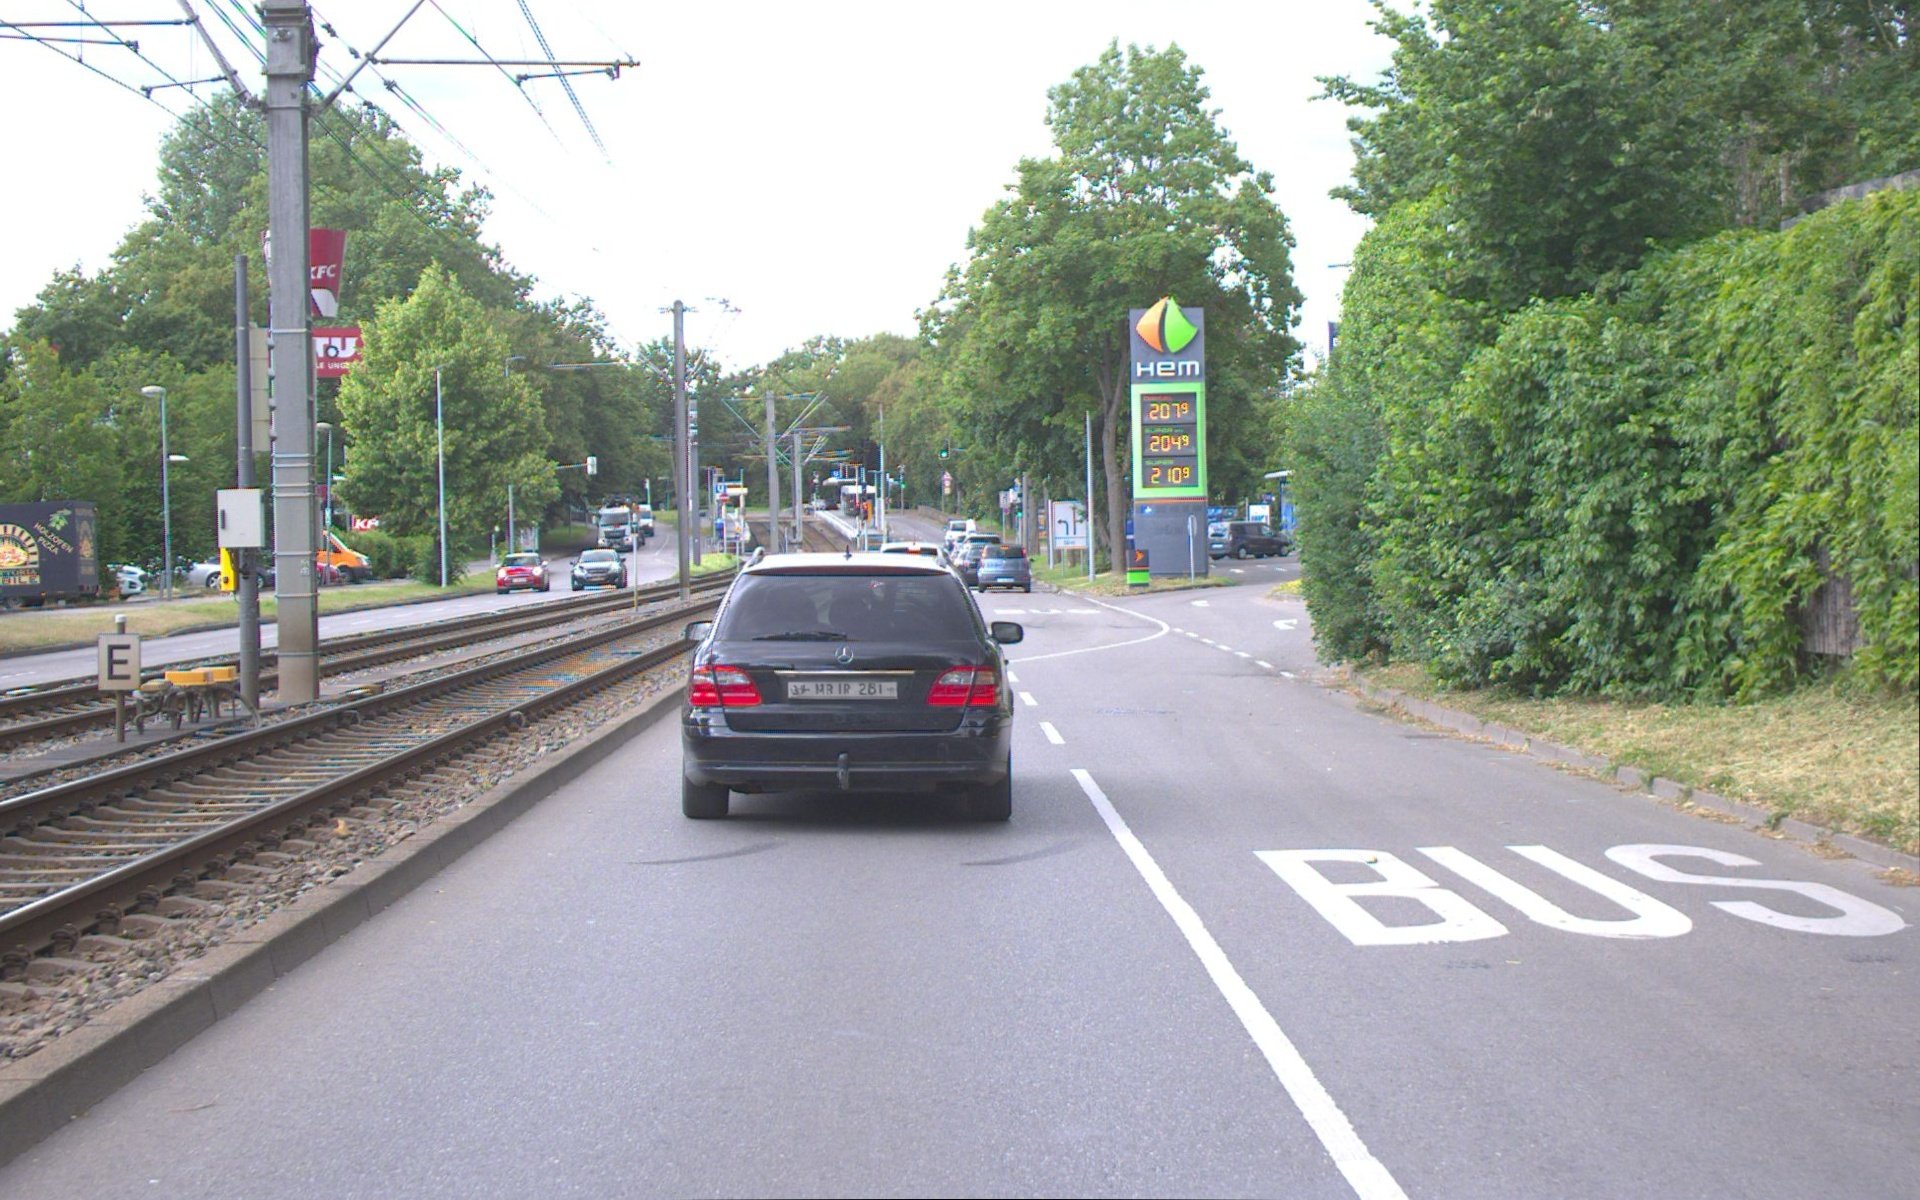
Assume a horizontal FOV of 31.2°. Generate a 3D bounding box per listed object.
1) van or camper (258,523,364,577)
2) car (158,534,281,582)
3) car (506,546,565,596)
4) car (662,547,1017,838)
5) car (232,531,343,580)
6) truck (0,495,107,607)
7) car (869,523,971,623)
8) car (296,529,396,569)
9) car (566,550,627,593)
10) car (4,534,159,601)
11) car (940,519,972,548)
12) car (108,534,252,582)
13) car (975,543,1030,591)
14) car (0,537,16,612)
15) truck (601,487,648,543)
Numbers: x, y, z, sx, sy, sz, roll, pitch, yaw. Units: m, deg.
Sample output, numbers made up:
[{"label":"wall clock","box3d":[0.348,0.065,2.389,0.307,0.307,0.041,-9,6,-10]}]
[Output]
[{"label":"van or camper","box3d":[-26.023,-2.021,137.900,3.986,2.127,1.878,0,1,-5]},{"label":"car","box3d":[-25.908,-1.476,120.385,3.986,1.594,1.878,-2,1,-5]},{"label":"car","box3d":[-15.553,-1.083,125.988,1.792,1.766,4.001,-1,1,-2]},{"label":"car","box3d":[-0.638,0.444,19.506,1.808,1.469,3.881,0,1,-1]},{"label":"car","box3d":[-25.898,-1.710,132.560,3.986,1.791,1.878,-1,1,-5]},{"label":"truck","box3d":[-24.295,-1.247,88.676,3.986,2.812,2.376,-1,1,-3]},{"label":"car","box3d":[-0.728,-0.492,62.530,1.780,1.744,3.718,1,0,-1]},{"label":"car","box3d":[-26.183,-2.160,146.650,3.986,1.594,1.797,-2,1,-5]},{"label":"car","box3d":[-12.955,-1.021,122.739,1.759,1.396,4.444,-4,1,-2]},{"label":"car","box3d":[-25.060,-0.929,98.172,3.986,1.791,1.878,-2,1,-5]},{"label":"car","box3d":[-0.277,-4.250,219.567,1.993,1.831,4.000,1,1,-1]},{"label":"car","box3d":[-25.318,-1.368,111.651,4.306,1.467,1.681,-1,1,-3]},{"label":"car","box3d":[1.267,-0.994,104.678,1.571,1.410,3.354,1,0,-1]},{"label":"car","box3d":[-24.162,-0.538,79.295,4.220,1.721,1.996,-1,1,-2]},{"label":"truck","box3d":[-23.200,-5.846,238.073,2.706,3.651,11.114,-1,1,-4]}]
